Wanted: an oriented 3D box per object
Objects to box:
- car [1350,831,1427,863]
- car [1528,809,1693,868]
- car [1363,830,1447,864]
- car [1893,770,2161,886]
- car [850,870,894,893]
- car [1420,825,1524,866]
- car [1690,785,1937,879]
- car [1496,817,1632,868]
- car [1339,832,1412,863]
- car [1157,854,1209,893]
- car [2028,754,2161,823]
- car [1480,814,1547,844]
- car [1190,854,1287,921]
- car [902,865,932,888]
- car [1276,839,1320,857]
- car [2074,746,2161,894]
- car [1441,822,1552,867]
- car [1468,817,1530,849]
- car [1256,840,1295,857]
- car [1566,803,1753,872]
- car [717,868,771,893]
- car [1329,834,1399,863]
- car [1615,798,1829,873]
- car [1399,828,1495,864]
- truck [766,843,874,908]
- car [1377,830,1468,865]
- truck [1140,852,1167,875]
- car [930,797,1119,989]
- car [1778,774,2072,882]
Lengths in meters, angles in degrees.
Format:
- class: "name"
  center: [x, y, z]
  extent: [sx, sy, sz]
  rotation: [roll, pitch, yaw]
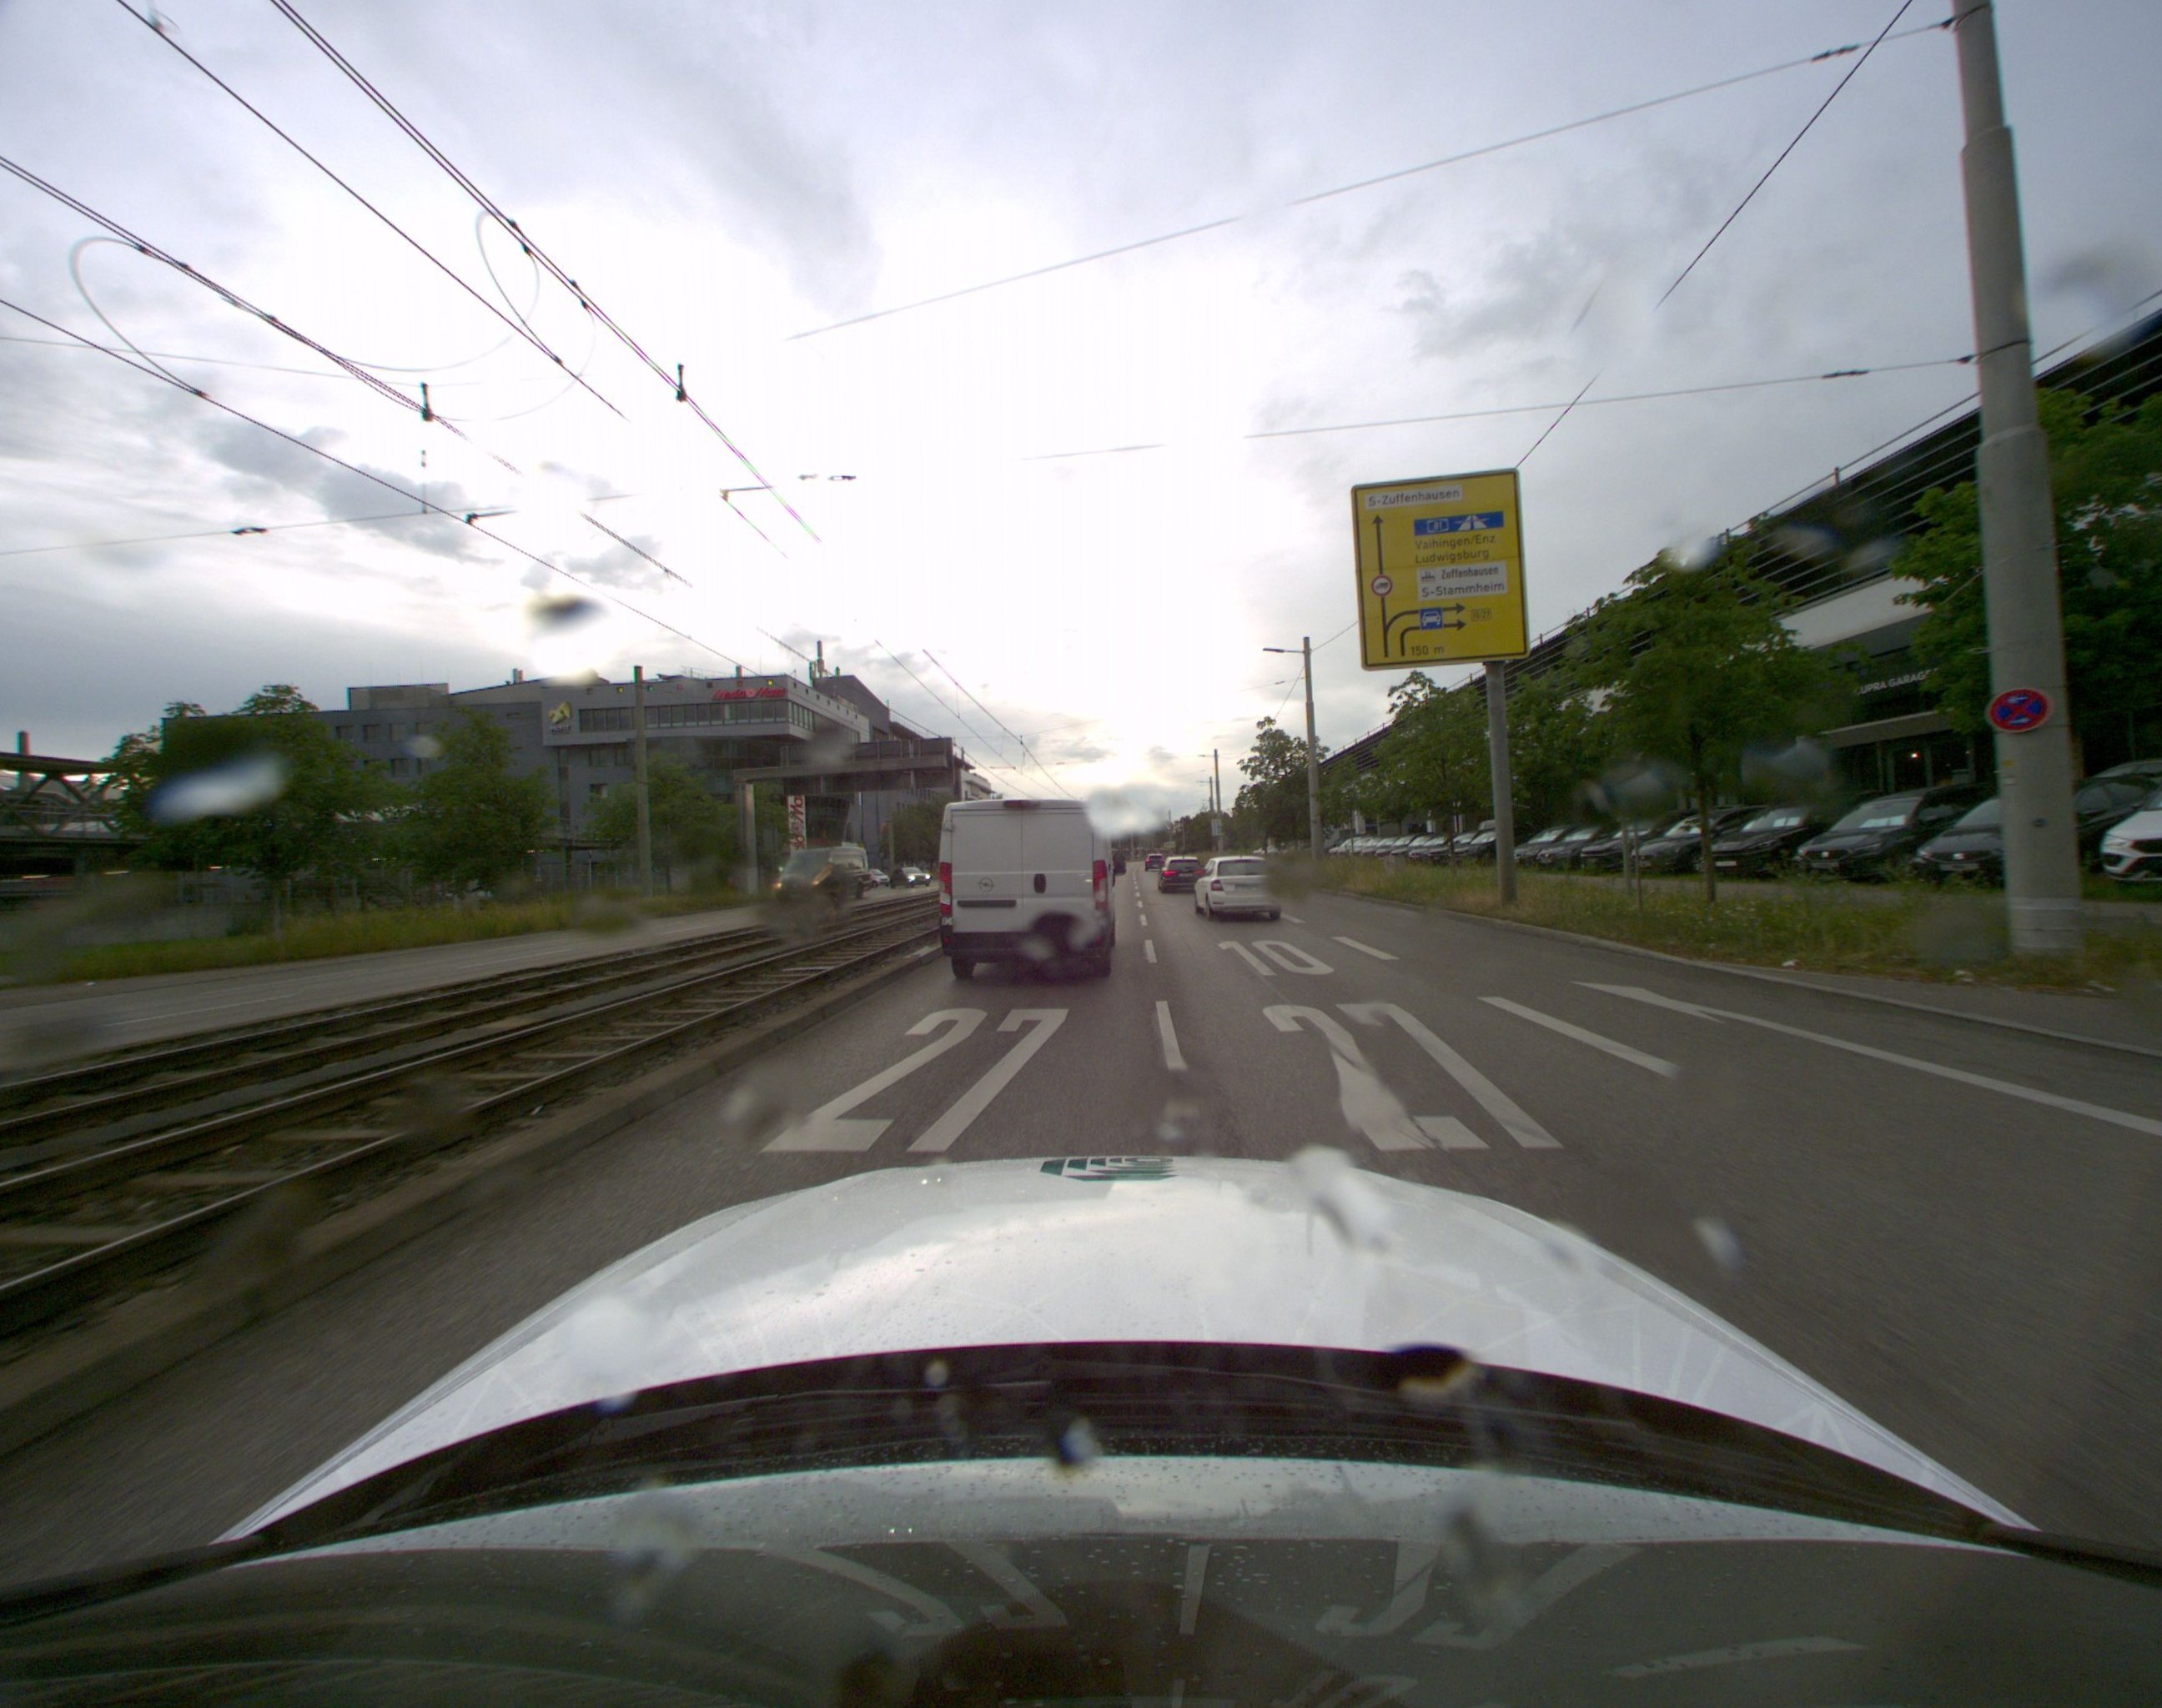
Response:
- class: "car"
  center: [18.458, -0.408, 48.889]
  extent: [4.155, 1.569, 1.813]
  rotation: [-4, 0, -22]
- class: "car"
  center: [17.629, -0.496, 27.197]
  extent: [4.483, 1.569, 1.816]
  rotation: [-4, 0, -8]
- class: "car"
  center: [18.294, -0.417, 46.004]
  extent: [4.153, 1.569, 1.896]
  rotation: [-4, 0, -20]
- class: "car"
  center: [16.796, -0.482, 13.960]
  extent: [4.488, 1.637, 1.814]
  rotation: [-4, 0, -11]
- class: "car"
  center: [-17.057, 2.234, 66.426]
  extent: [2.918, 1.536, 1.611]
  rotation: [-4, 2, 17]
- class: "car"
  center: [17.972, -0.390, 37.458]
  extent: [4.149, 1.534, 1.784]
  rotation: [-4, 0, -17]
- class: "car"
  center: [17.102, -0.501, 19.113]
  extent: [4.484, 1.795, 1.816]
  rotation: [-4, 0, -9]
- class: "car"
  center: [17.519, -0.412, 29.637]
  extent: [4.042, 1.501, 1.682]
  rotation: [-4, 0, -8]
- class: "car"
  center: [18.714, -0.392, 51.721]
  extent: [4.155, 1.604, 1.813]
  rotation: [-4, 0, -22]
- class: "car"
  center: [4.064, 0.740, 33.008]
  extent: [1.782, 1.449, 4.003]
  rotation: [-1, 0, 3]
- class: "car"
  center: [25.534, -1.582, 19.252]
  extent: [1.772, 1.472, 3.901]
  rotation: [-3, 0, 2]
- class: "car"
  center: [32.771, -1.881, 61.810]
  extent: [4.010, 1.976, 1.946]
  rotation: [-3, -1, 2]
- class: "car"
  center: [3.699, 0.738, 19.712]
  extent: [1.740, 1.457, 3.672]
  rotation: [0, 0, 2]
- class: "car"
  center: [-11.795, 1.617, 58.762]
  extent: [1.801, 1.429, 4.224]
  rotation: [-4, 0, -8]
- class: "car"
  center: [21.588, -0.639, 80.870]
  extent: [4.112, 1.465, 1.731]
  rotation: [-4, -1, -30]
- class: "car"
  center: [16.721, -0.618, 11.477]
  extent: [4.497, 1.991, 1.811]
  rotation: [-4, 0, -17]
- class: "car"
  center: [17.695, -0.412, 34.727]
  extent: [4.053, 1.576, 1.723]
  rotation: [-4, 0, -17]
- class: "car"
  center: [27.769, -1.341, 54.247]
  extent: [1.879, 1.938, 4.432]
  rotation: [-3, 0, 2]
- class: "car"
  center: [21.588, -0.605, 90.251]
  extent: [4.116, 1.568, 1.780]
  rotation: [-4, -1, -33]
- class: "car"
  center: [17.281, -0.479, 24.418]
  extent: [4.483, 1.663, 1.816]
  rotation: [-4, 0, -8]
- class: "car"
  center: [-30.605, 2.372, 74.046]
  extent: [3.978, 2.013, 1.998]
  rotation: [-3, 0, -4]
- class: "car"
  center: [18.986, -0.383, 54.638]
  extent: [4.157, 1.562, 1.855]
  rotation: [-4, 0, -23]
- class: "car"
  center: [17.212, -0.486, 21.974]
  extent: [4.480, 1.619, 1.817]
  rotation: [-4, 0, -6]
- class: "car"
  center: [18.146, -0.390, 40.429]
  extent: [4.149, 1.458, 1.784]
  rotation: [-4, 0, -17]
- class: "truck"
  center: [-11.902, 0.931, 37.817]
  extent: [2.229, 2.564, 7.020]
  rotation: [-4, 0, 3]
- class: "car"
  center: [18.109, -0.351, 43.239]
  extent: [4.149, 1.528, 1.821]
  rotation: [-4, 0, -17]
- class: "truck"
  center: [6.230, 0.783, 70.555]
  extent: [1.986, 1.790, 4.416]
  rotation: [-3, 0, 2]
- class: "car"
  center: [-0.543, 0.443, 11.948]
  extent: [2.081, 2.196, 5.066]
  rotation: [-1, 0, 3]
- class: "car"
  center: [16.983, -0.510, 16.481]
  extent: [4.484, 1.752, 1.816]
  rotation: [-4, 0, -9]
